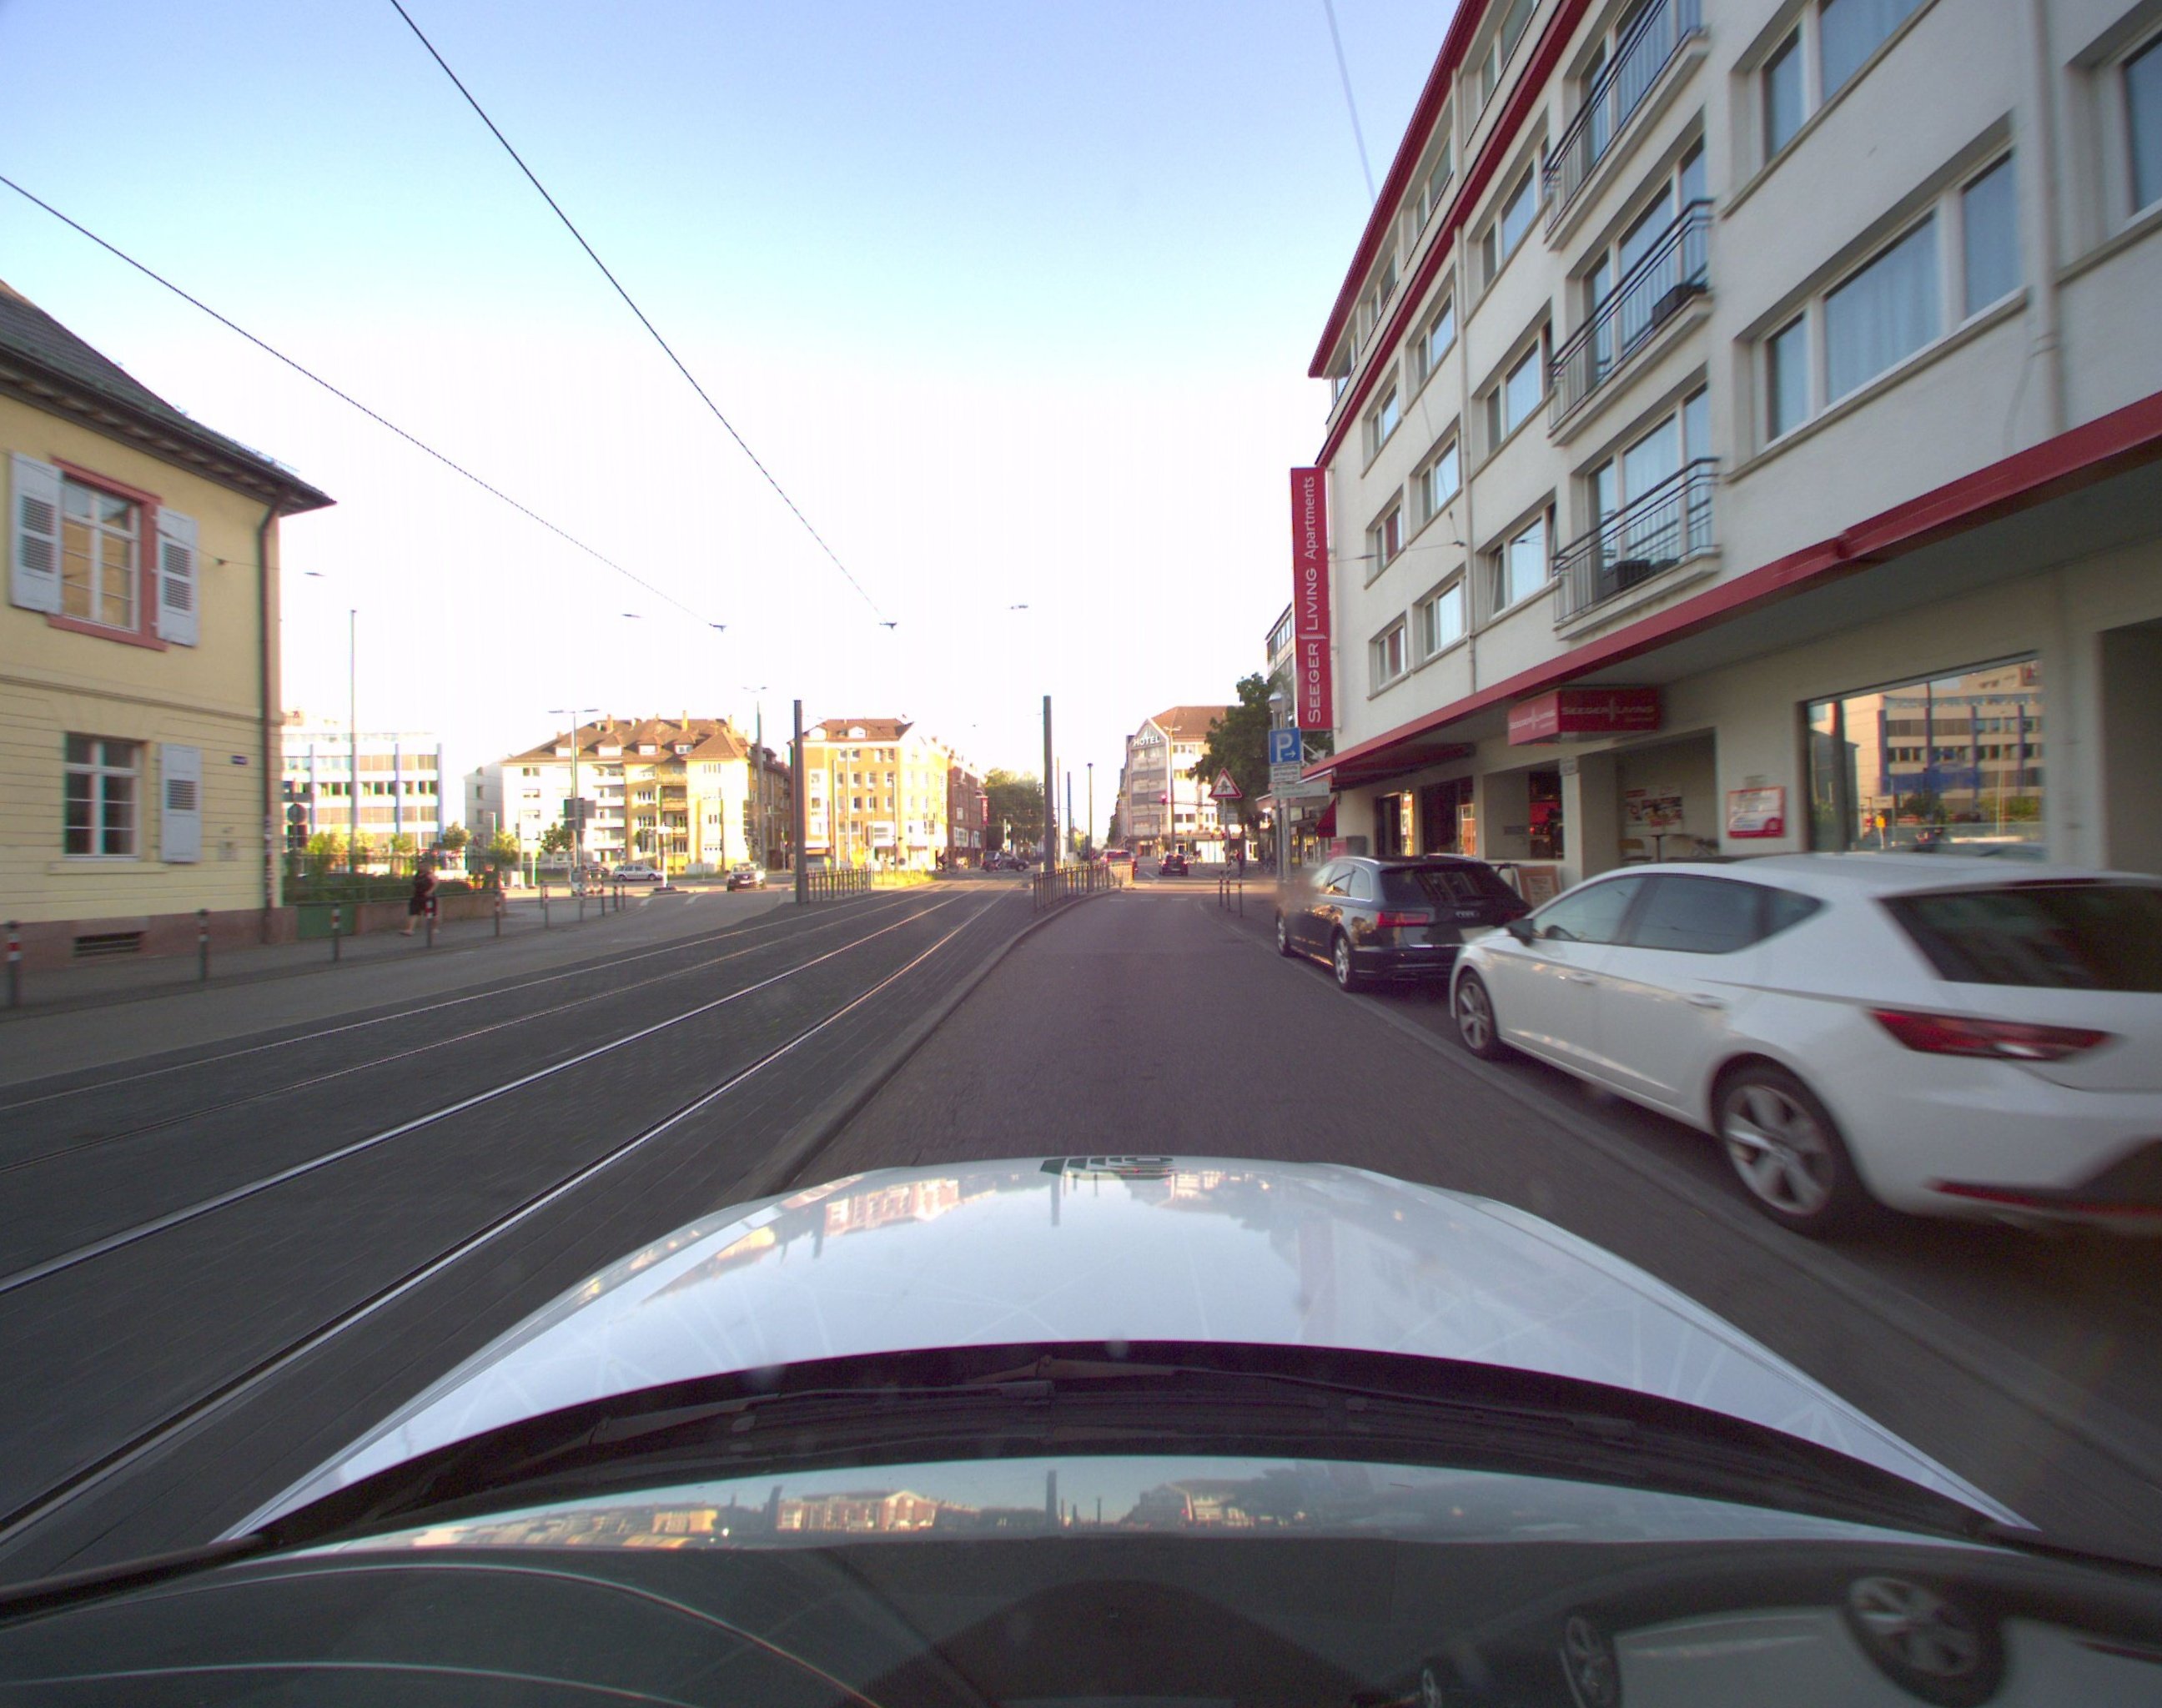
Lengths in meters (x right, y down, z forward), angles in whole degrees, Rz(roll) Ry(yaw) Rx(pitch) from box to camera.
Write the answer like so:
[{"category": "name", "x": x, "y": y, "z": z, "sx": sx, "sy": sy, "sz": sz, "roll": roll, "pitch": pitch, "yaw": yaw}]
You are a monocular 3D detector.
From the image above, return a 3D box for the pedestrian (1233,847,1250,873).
[{"category": "pedestrian", "x": 10.599, "y": 0.411, "z": 53.824, "sx": 0.823, "sy": 1.685, "sz": 1.046, "roll": 0, "pitch": -1, "yaw": -7}]

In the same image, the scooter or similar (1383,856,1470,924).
[{"category": "scooter or similar", "x": 6.381, "y": 0.661, "z": 15.086, "sx": 1.420, "sy": 1.194, "sz": 0.337, "roll": -2, "pitch": 0, "yaw": 45}]

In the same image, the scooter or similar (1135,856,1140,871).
[{"category": "scooter or similar", "x": 4.100, "y": 0.694, "z": 59.358, "sx": 0.278, "sy": 1.091, "sz": 1.260, "roll": 0, "pitch": 0, "yaw": 8}]

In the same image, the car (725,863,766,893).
[{"category": "car", "x": -16.535, "y": 1.136, "z": 40.187, "sx": 1.774, "sy": 1.376, "sz": 4.191, "roll": -1, "pitch": 0, "yaw": -22}]

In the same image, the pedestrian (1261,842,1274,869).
[{"category": "pedestrian", "x": 12.661, "y": 0.120, "z": 55.340, "sx": 0.743, "sy": 1.778, "sz": 0.974, "roll": 0, "pitch": -1, "yaw": 3}]

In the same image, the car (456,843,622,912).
[{"category": "car", "x": -17.407, "y": 0.724, "z": 26.386, "sx": 3.994, "sy": 2.013, "sz": 1.990, "roll": -2, "pitch": 0, "yaw": -15}]

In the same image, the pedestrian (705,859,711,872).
[{"category": "pedestrian", "x": -47.203, "y": 1.469, "z": 103.115, "sx": 0.549, "sy": 1.642, "sz": 0.501, "roll": 0, "pitch": -1, "yaw": 0}]

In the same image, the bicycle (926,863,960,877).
[{"category": "bicycle", "x": -11.140, "y": 1.294, "z": 65.879, "sx": 2.647, "sy": 1.099, "sz": 0.433, "roll": 0, "pitch": -1, "yaw": -19}]

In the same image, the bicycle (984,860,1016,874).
[{"category": "bicycle", "x": -6.716, "y": 1.072, "z": 67.647, "sx": 2.635, "sy": 1.099, "sz": 0.435, "roll": 0, "pitch": -1, "yaw": -5}]

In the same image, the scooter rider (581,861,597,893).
[{"category": "scooter rider", "x": -24.916, "y": 1.157, "z": 41.246, "sx": 0.586, "sy": 1.593, "sz": 0.653, "roll": 1, "pitch": -1, "yaw": -19}]

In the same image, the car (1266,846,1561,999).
[{"category": "car", "x": 3.642, "y": 0.652, "z": 9.956, "sx": 1.783, "sy": 1.413, "sz": 4.688, "roll": 0, "pitch": 0, "yaw": 1}]

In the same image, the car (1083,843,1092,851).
[{"category": "car", "x": 1.561, "y": -1.767, "z": 201.012, "sx": 1.985, "sy": 1.901, "sz": 4.002, "roll": 0, "pitch": 0, "yaw": 2}]

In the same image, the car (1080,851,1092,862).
[{"category": "car", "x": 0.872, "y": 0.369, "z": 134.804, "sx": 1.804, "sy": 1.746, "sz": 3.717, "roll": 0, "pitch": 0, "yaw": 3}]

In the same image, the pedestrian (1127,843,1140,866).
[{"category": "pedestrian", "x": 4.154, "y": 0.014, "z": 64.599, "sx": 0.991, "sy": 1.830, "sz": 0.728, "roll": 0, "pitch": -1, "yaw": -1}]

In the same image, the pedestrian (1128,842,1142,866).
[{"category": "pedestrian", "x": 4.214, "y": -0.011, "z": 63.824, "sx": 0.992, "sy": 1.830, "sz": 0.728, "roll": 0, "pitch": -1, "yaw": -3}]

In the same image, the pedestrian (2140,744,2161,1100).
[{"category": "pedestrian", "x": 6.083, "y": 0.348, "z": 3.890, "sx": 0.772, "sy": 1.880, "sz": 0.934, "roll": -2, "pitch": -1, "yaw": 0}]

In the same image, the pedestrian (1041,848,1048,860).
[{"category": "pedestrian", "x": -5.121, "y": 0.001, "z": 114.128, "sx": 0.802, "sy": 1.664, "sz": 0.704, "roll": 0, "pitch": -1, "yaw": 3}]

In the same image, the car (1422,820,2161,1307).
[{"category": "car", "x": 3.521, "y": 0.627, "z": 4.482, "sx": 1.645, "sy": 1.421, "sz": 4.192, "roll": 0, "pitch": 0, "yaw": 2}]

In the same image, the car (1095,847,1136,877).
[{"category": "car", "x": 1.928, "y": 0.450, "z": 46.801, "sx": 1.832, "sy": 1.636, "sz": 4.084, "roll": -1, "pitch": 0, "yaw": -5}]

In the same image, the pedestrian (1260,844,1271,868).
[{"category": "pedestrian", "x": 13.870, "y": 0.148, "z": 61.298, "sx": 0.743, "sy": 1.778, "sz": 0.801, "roll": 0, "pitch": -1, "yaw": 5}]

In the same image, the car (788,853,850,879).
[{"category": "car", "x": -21.970, "y": 1.016, "z": 68.348, "sx": 4.686, "sy": 2.013, "sz": 1.992, "roll": -2, "pitch": 0, "yaw": -12}]

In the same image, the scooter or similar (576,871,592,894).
[{"category": "scooter or similar", "x": -24.871, "y": 1.414, "z": 40.792, "sx": 0.427, "sy": 1.063, "sz": 1.611, "roll": 1, "pitch": 0, "yaw": -23}]

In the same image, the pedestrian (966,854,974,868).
[{"category": "pedestrian", "x": -16.651, "y": 1.072, "z": 122.317, "sx": 1.090, "sy": 2.014, "sz": 1.162, "roll": 0, "pitch": -1, "yaw": -1}]

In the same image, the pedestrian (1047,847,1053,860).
[{"category": "pedestrian", "x": -4.350, "y": -0.062, "z": 114.871, "sx": 0.802, "sy": 1.823, "sz": 0.704, "roll": 0, "pitch": -1, "yaw": 4}]

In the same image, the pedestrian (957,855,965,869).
[{"category": "pedestrian", "x": -17.504, "y": 1.153, "z": 119.021, "sx": 1.090, "sy": 2.014, "sz": 0.908, "roll": 0, "pitch": -1, "yaw": -1}]

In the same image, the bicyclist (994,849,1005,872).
[{"category": "bicyclist", "x": -6.787, "y": 0.566, "z": 67.621, "sx": 0.859, "sy": 1.878, "sz": 0.645, "roll": 0, "pitch": -1, "yaw": -5}]

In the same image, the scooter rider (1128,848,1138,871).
[{"category": "scooter rider", "x": 3.762, "y": 0.391, "z": 59.268, "sx": 0.658, "sy": 1.647, "sz": 0.663, "roll": 0, "pitch": -1, "yaw": 9}]

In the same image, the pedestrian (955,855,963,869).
[{"category": "pedestrian", "x": -17.619, "y": 1.138, "z": 117.505, "sx": 1.090, "sy": 2.014, "sz": 0.908, "roll": 0, "pitch": -1, "yaw": -1}]

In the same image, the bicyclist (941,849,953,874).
[{"category": "bicyclist", "x": -10.876, "y": 0.594, "z": 66.025, "sx": 0.863, "sy": 2.014, "sz": 0.642, "roll": 1, "pitch": -1, "yaw": -18}]

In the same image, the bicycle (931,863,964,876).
[{"category": "bicycle", "x": -10.954, "y": 1.285, "z": 67.014, "sx": 2.647, "sy": 1.099, "sz": 0.433, "roll": 0, "pitch": -1, "yaw": -19}]

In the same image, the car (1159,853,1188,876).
[{"category": "car", "x": 6.159, "y": 0.667, "z": 54.087, "sx": 1.755, "sy": 1.440, "sz": 4.008, "roll": -1, "pitch": 0, "yaw": 7}]

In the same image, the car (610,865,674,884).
[{"category": "car", "x": -37.674, "y": 1.761, "z": 69.965, "sx": 4.333, "sy": 1.551, "sz": 1.996, "roll": -1, "pitch": 0, "yaw": -7}]

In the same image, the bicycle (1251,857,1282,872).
[{"category": "bicycle", "x": 11.186, "y": 0.648, "z": 49.230, "sx": 1.807, "sy": 0.891, "sz": 0.416, "roll": 0, "pitch": -1, "yaw": 8}]

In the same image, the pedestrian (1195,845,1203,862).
[{"category": "pedestrian", "x": 12.294, "y": -0.065, "z": 84.849, "sx": 0.743, "sy": 1.778, "sz": 0.801, "roll": 0, "pitch": -1, "yaw": 4}]

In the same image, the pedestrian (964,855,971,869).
[{"category": "pedestrian", "x": -16.411, "y": 1.154, "z": 117.905, "sx": 0.974, "sy": 2.014, "sz": 0.908, "roll": 0, "pitch": -1, "yaw": -1}]

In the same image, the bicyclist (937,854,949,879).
[{"category": "bicyclist", "x": -11.279, "y": 1.034, "z": 66.771, "sx": 0.863, "sy": 2.014, "sz": 0.642, "roll": 1, "pitch": -1, "yaw": -20}]

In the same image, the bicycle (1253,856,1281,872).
[{"category": "bicycle", "x": 11.454, "y": 0.630, "z": 50.177, "sx": 1.648, "sy": 0.974, "sz": 0.387, "roll": 0, "pitch": -1, "yaw": 8}]

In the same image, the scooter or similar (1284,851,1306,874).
[{"category": "scooter or similar", "x": 11.719, "y": 0.466, "z": 44.604, "sx": 0.296, "sy": 1.217, "sz": 1.206, "roll": 1, "pitch": -3, "yaw": -43}]

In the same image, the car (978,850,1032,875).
[{"category": "car", "x": -6.726, "y": 0.723, "z": 71.886, "sx": 4.562, "sy": 2.036, "sz": 1.993, "roll": -2, "pitch": 0, "yaw": -11}]

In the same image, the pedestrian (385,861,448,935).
[{"category": "pedestrian", "x": -14.315, "y": 0.935, "z": 17.561, "sx": 0.717, "sy": 1.536, "sz": 0.718, "roll": -2, "pitch": 0, "yaw": -3}]
